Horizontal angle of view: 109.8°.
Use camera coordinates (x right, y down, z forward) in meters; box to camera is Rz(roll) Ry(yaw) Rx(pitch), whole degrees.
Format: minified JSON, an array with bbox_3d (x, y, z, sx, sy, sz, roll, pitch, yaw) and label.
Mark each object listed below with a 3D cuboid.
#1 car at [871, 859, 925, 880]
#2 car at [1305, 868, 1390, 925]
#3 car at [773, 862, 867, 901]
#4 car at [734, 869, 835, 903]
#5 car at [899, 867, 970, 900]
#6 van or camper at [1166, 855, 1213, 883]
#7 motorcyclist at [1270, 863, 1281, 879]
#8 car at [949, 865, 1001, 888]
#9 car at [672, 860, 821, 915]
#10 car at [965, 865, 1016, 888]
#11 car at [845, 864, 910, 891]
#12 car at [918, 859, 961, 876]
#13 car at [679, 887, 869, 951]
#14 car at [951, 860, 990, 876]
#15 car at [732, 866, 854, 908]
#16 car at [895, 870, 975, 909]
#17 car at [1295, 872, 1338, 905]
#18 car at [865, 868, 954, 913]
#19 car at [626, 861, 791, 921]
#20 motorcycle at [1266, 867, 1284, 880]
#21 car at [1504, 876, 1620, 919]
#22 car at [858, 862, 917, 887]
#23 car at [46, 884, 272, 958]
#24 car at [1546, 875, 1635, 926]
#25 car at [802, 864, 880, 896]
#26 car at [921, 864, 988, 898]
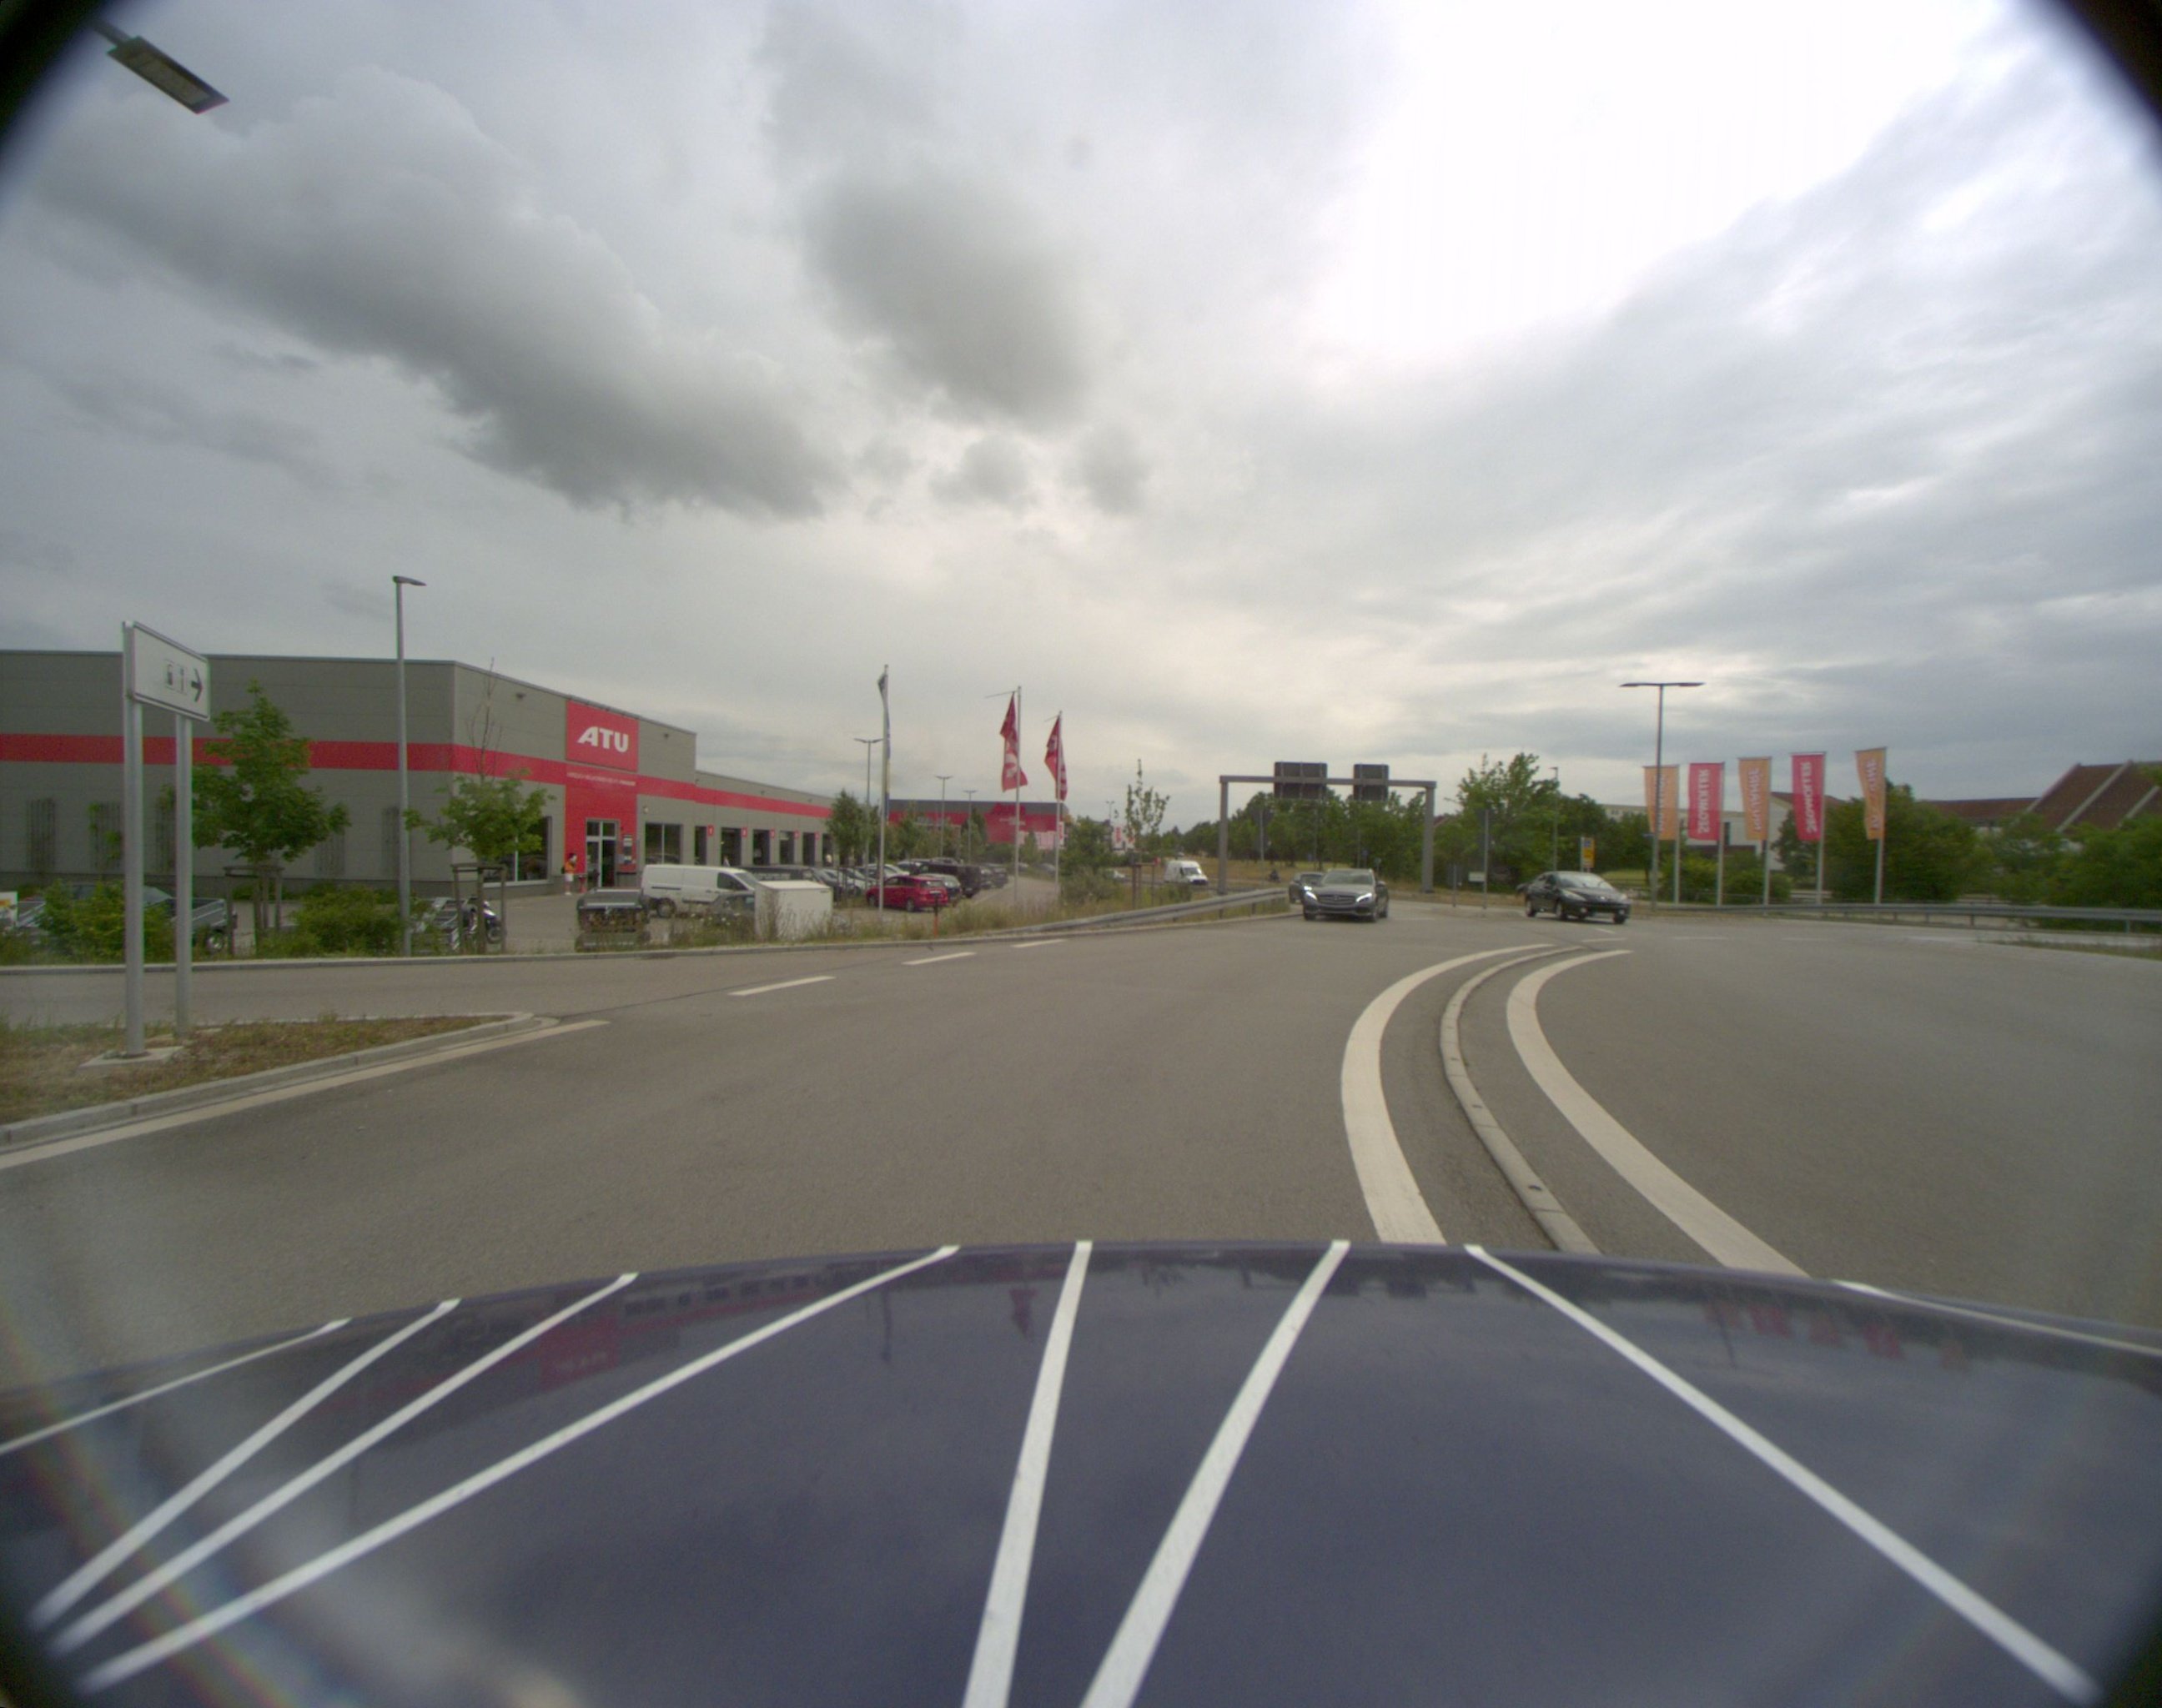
[{"bbox_3d":[-13.758,1.163,57.323,3.698,1.536,1.590,-1,0,-3],"label":"car"},{"bbox_3d":[7.515,1.150,21.185,1.761,1.411,4.100,-1,-3,26],"label":"car"},{"bbox_3d":[-13.118,1.372,38.326,4.199,1.825,1.590,-1,0,-3],"label":"car"},{"bbox_3d":[-14.105,1.528,36.322,4.199,1.490,1.590,-1,0,-3],"label":"car"},{"bbox_3d":[-8.145,1.604,42.014,4.064,1.570,1.775,3,1,44],"label":"car"},{"bbox_3d":[9.855,1.311,69.600,2.055,2.350,5.532,0,1,-18],"label":"van or camper"},{"bbox_3d":[19.046,1.693,74.389,0.675,1.566,0.846,2,-1,-14],"label":"motorcyclist"},{"bbox_3d":[-7.597,1.586,54.260,1.654,1.612,4.066,2,-2,-43],"label":"car"},{"bbox_3d":[-13.429,1.335,30.782,5.076,1.961,1.999,2,0,-3],"label":"car"},{"bbox_3d":[-6.822,1.699,57.222,1.741,1.612,4.066,2,-3,-43],"label":"car"},{"bbox_3d":[-12.910,1.483,48.348,3.698,1.629,1.590,-1,0,-3],"label":"car"},{"bbox_3d":[-13.042,1.231,70.051,3.698,1.536,1.590,-1,0,-3],"label":"car"},{"bbox_3d":[-8.967,1.890,22.532,4.833,1.665,1.965,1,0,-3],"label":"car"},{"bbox_3d":[-11.020,1.404,76.156,3.698,1.536,1.590,-1,0,-3],"label":"car"},{"bbox_3d":[-12.758,1.445,33.894,4.673,1.631,1.915,2,0,-3],"label":"car"},{"bbox_3d":[-7.414,1.771,38.504,4.063,1.571,1.775,5,2,41],"label":"car"},{"bbox_3d":[12.155,1.744,39.457,1.857,1.404,4.562,0,1,14],"label":"car"},{"bbox_3d":[-7.976,1.647,35.193,4.063,1.571,1.775,5,4,37],"label":"car"},{"bbox_3d":[-13.635,1.334,28.053,5.076,2.035,1.999,1,0,-3],"label":"car"},{"bbox_3d":[18.997,1.936,74.380,0.704,1.222,2.247,2,-2,-16],"label":"motorcycle"},{"bbox_3d":[23.111,2.020,36.818,2.105,1.780,5.048,0,0,-5],"label":"car"},{"bbox_3d":[-13.560,1.440,53.377,3.698,1.629,1.590,-1,0,-3],"label":"car"},{"bbox_3d":[-24.919,1.731,20.734,1.912,1.565,3.746,-1,1,41],"label":"car"},{"bbox_3d":[15.134,1.324,22.757,1.577,1.346,3.831,0,-1,24],"label":"car"},{"bbox_3d":[-12.875,1.396,40.903,3.698,1.629,1.590,-1,0,-3],"label":"car"},{"bbox_3d":[-7.488,1.562,44.777,1.910,1.896,4.065,2,-2,-43],"label":"car"}]
